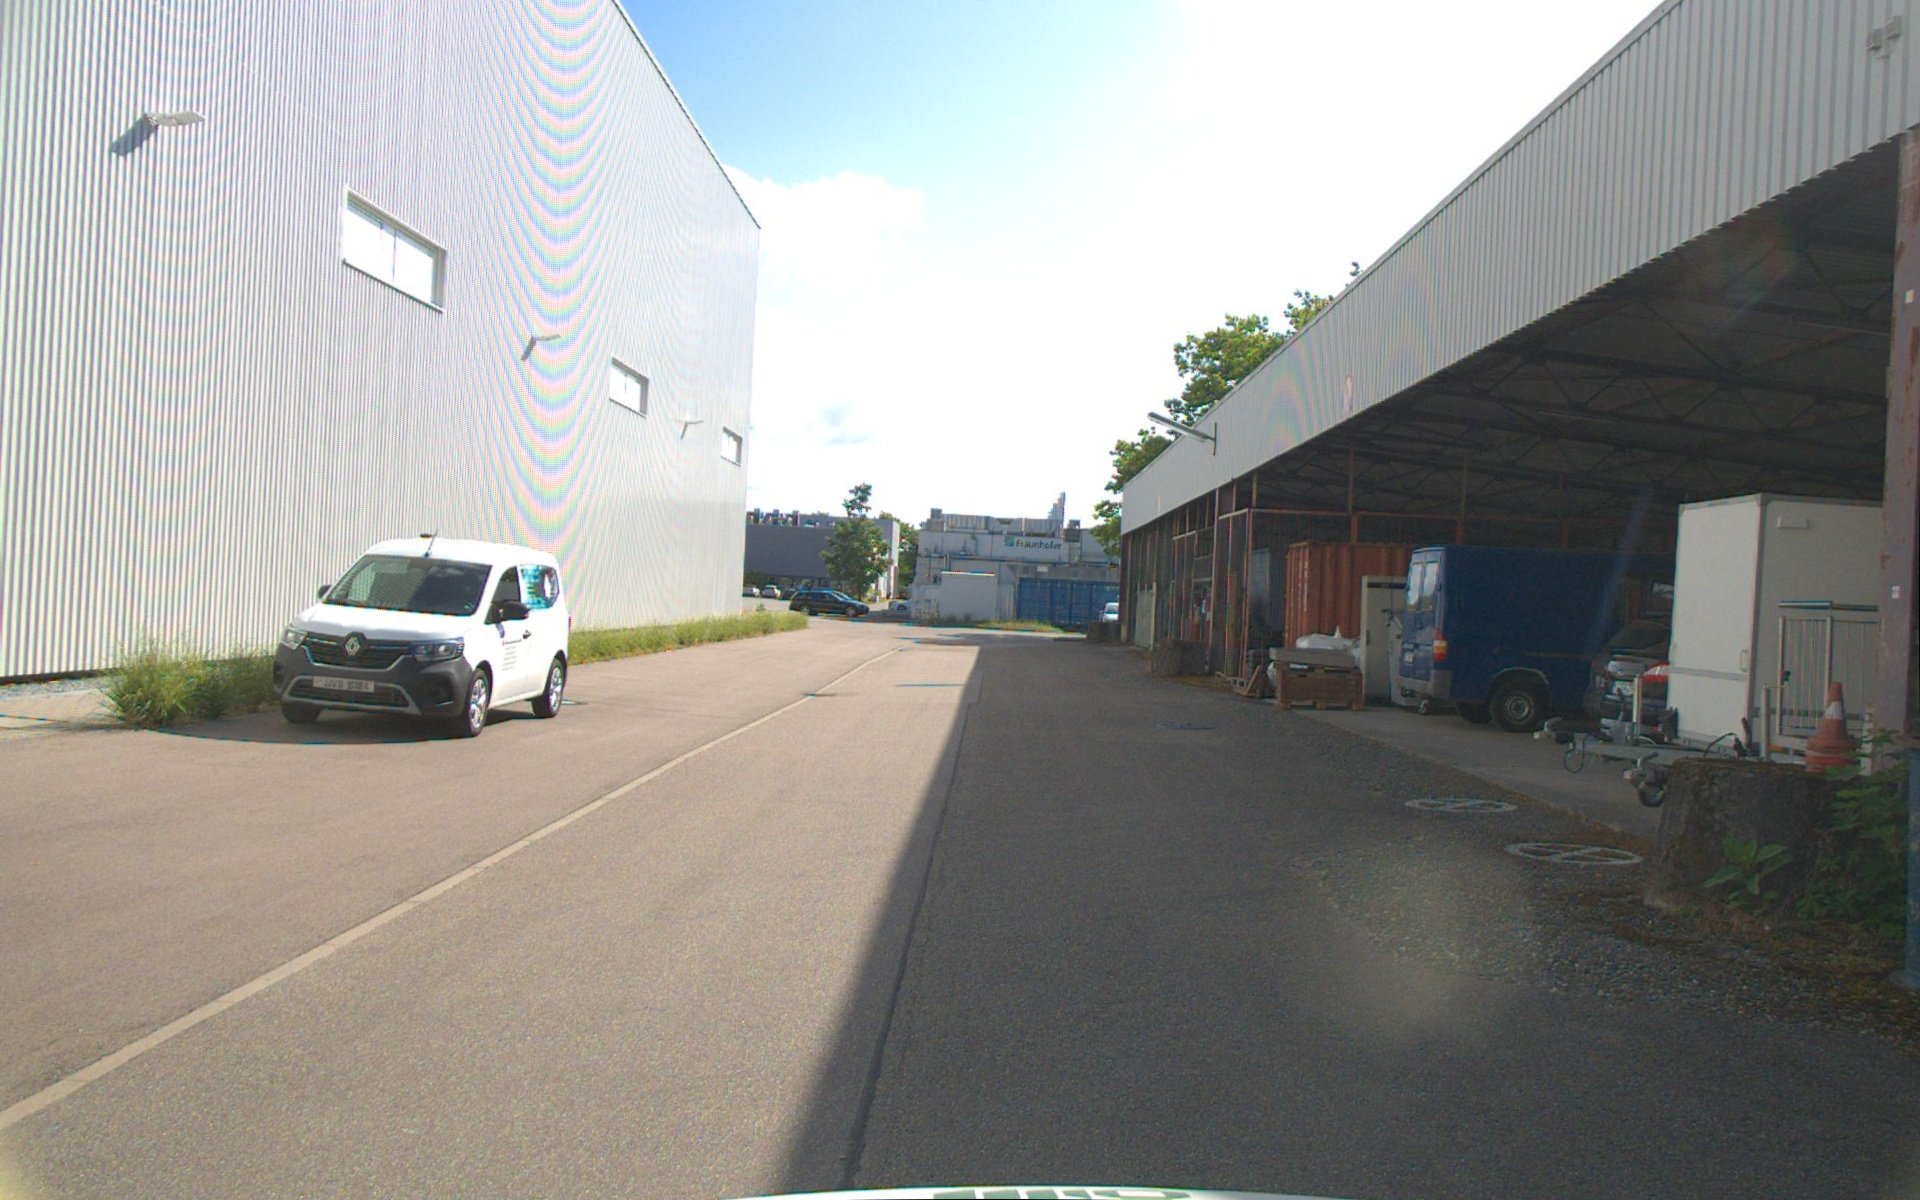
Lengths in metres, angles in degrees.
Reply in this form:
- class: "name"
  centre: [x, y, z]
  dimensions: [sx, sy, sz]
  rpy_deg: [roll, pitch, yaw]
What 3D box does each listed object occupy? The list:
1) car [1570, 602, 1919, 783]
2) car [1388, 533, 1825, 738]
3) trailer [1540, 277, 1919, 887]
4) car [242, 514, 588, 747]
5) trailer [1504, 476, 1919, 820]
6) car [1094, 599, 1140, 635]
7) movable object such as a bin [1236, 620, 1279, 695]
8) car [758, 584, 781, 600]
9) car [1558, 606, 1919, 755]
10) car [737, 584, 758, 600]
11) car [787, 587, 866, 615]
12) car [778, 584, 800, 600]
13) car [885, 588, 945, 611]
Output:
- class: "car"
  centre: [8.192, 0.852, 15.536]
  dimensions: [4.241, 1.522, 1.777]
  rpy_deg: [2, 0, -2]
- class: "car"
  centre: [8.320, 0.440, 21.630]
  dimensions: [4.876, 2.366, 2.000]
  rpy_deg: [2, 0, 1]
- class: "trailer"
  centre: [9.075, 0.035, 10.341]
  dimensions: [9.831, 3.272, 2.854]
  rpy_deg: [2, 0, 1]
- class: "car"
  centre: [-5.226, 0.265, 16.561]
  dimensions: [1.852, 1.877, 4.359]
  rpy_deg: [5, 0, 0]
- class: "trailer"
  centre: [6.901, 0.373, 12.910]
  dimensions: [4.711, 2.433, 1.828]
  rpy_deg: [2, 0, 6]
- class: "car"
  centre: [8.109, 0.865, 85.834]
  dimensions: [1.953, 1.613, 4.173]
  rpy_deg: [2, 2, 0]
- class: "movable object such as a bin"
  centre: [4.906, 0.931, 27.351]
  dimensions: [0.569, 1.185, 1.239]
  rpy_deg: [2, 0, 5]
- class: "car"
  centre: [-22.568, -0.930, 196.122]
  dimensions: [2.148, 1.766, 4.000]
  rpy_deg: [1, 0, 0]
- class: "car"
  centre: [9.043, 0.883, 18.656]
  dimensions: [3.908, 1.498, 1.787]
  rpy_deg: [2, 0, -4]
- class: "car"
  centre: [-25.107, -0.940, 195.809]
  dimensions: [1.952, 1.766, 4.000]
  rpy_deg: [1, 0, 0]
- class: "car"
  centre: [-7.955, 0.070, 98.791]
  dimensions: [4.431, 1.534, 1.909]
  rpy_deg: [2, 0, 3]
- class: "car"
  centre: [-20.093, -0.932, 194.380]
  dimensions: [2.148, 1.766, 4.000]
  rpy_deg: [1, 0, 0]
- class: "car"
  centre: [-3.399, -0.044, 126.339]
  dimensions: [4.432, 1.534, 1.909]
  rpy_deg: [2, 0, 2]
